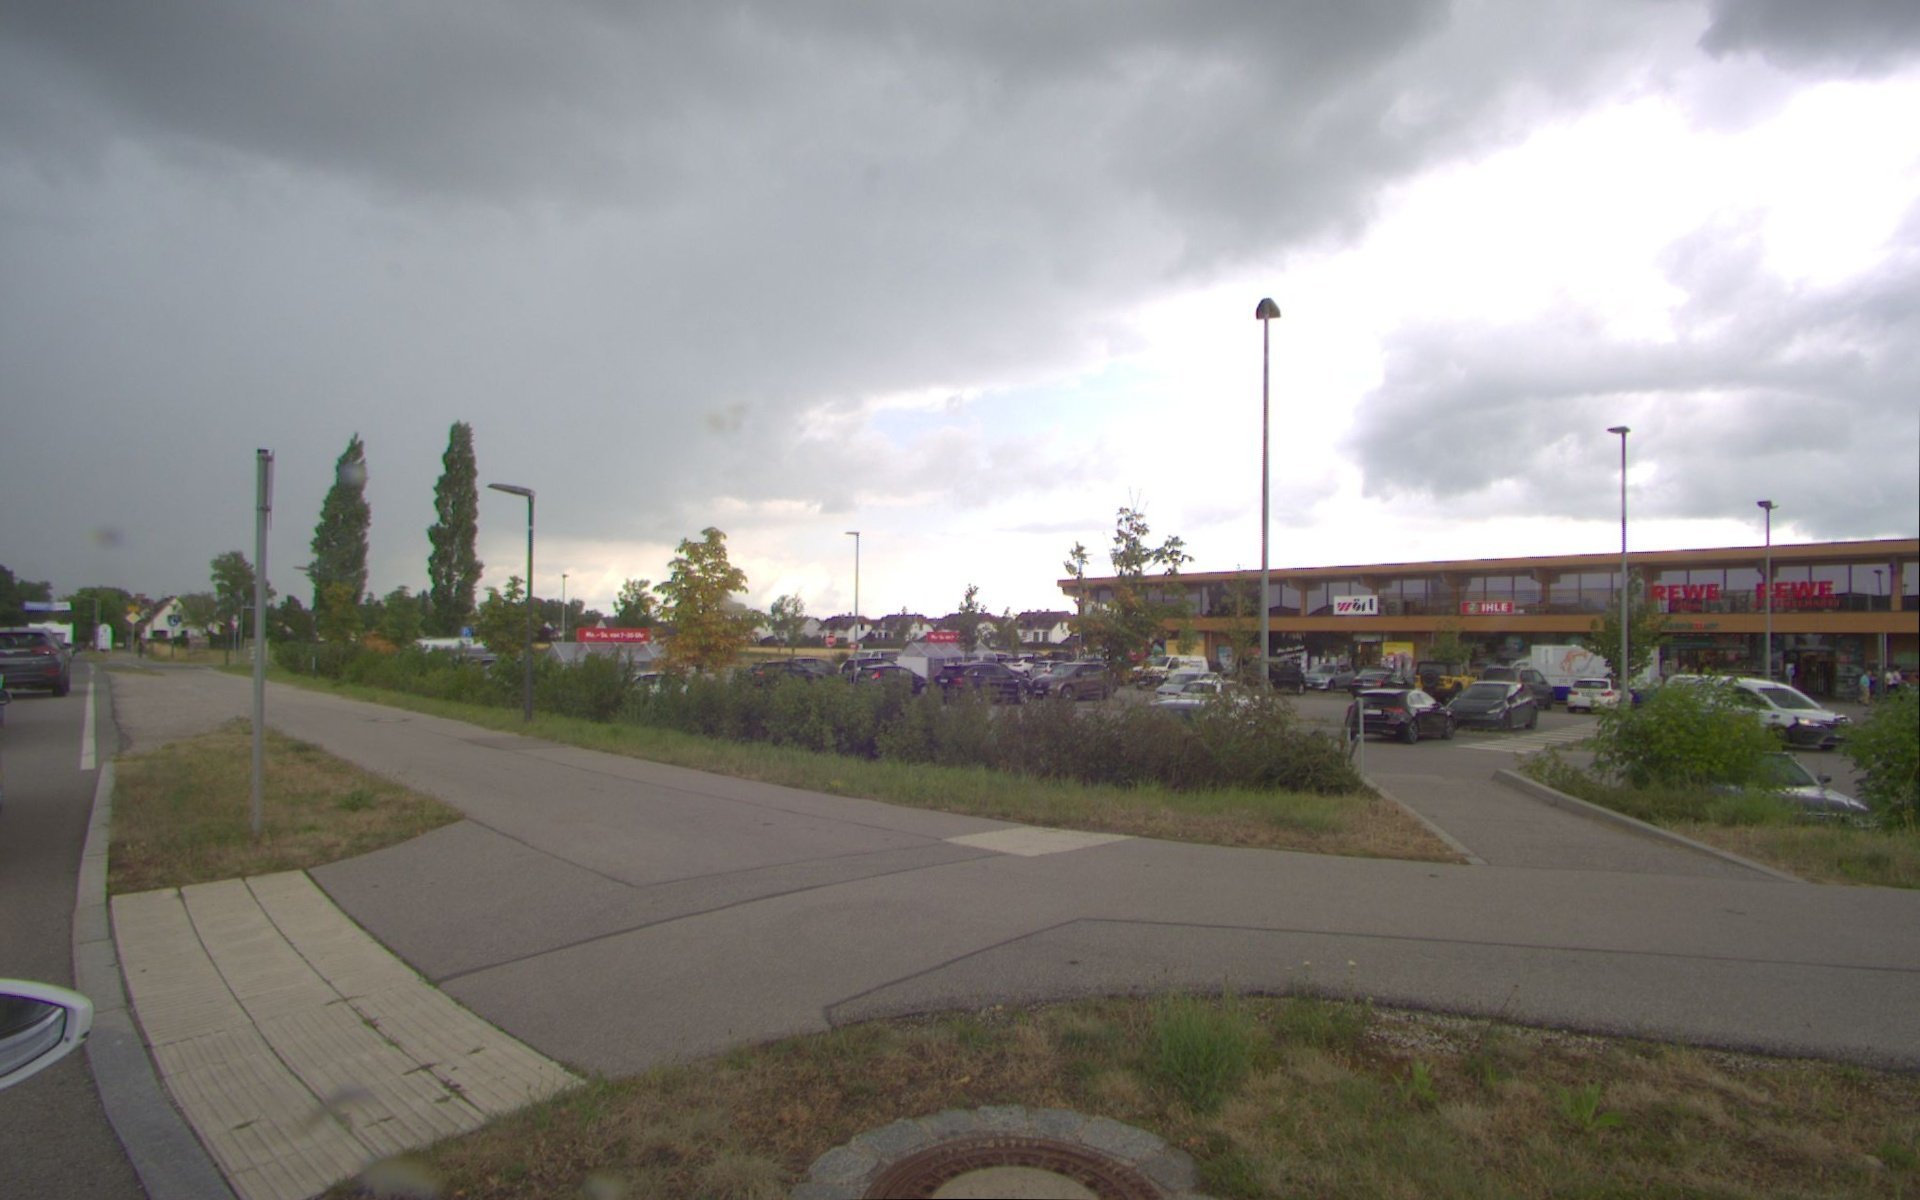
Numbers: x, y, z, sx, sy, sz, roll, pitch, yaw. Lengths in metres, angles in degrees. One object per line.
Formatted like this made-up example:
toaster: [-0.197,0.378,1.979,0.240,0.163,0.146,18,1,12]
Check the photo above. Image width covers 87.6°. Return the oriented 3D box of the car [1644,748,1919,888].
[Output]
car: [11.737,3.047,14.615,1.551,1.389,3.733,0,-3,11]

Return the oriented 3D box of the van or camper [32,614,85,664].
van or camper: [-63.737,2.774,70.915,2.607,3.365,6.761,2,-3,-41]

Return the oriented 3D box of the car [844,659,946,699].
car: [-2.954,3.601,46.136,4.373,1.685,1.983,3,-3,-42]

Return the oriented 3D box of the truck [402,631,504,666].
truck: [-28.930,2.805,57.238,1.980,1.895,4.770,-2,-4,44]

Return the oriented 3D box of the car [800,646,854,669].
car: [-11.057,4.750,83.277,3.954,1.861,1.985,3,-3,-38]

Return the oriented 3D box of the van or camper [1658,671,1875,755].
van or camper: [22.473,3.100,28.214,1.732,2.123,4.808,2,-5,-9]

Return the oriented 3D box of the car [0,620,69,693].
car: [-22.705,1.325,24.147,1.764,1.638,3.965,2,-3,-41]

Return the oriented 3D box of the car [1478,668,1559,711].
car: [23.808,3.778,42.650,4.080,1.746,1.836,4,-5,-43]

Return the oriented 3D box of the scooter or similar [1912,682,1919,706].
scooter or similar: [45.320,4.422,46.880,0.991,1.140,0.788,-1,-5,40]

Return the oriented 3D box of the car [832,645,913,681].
car: [-5.255,3.772,61.057,1.975,2.039,5.090,0,-2,38]

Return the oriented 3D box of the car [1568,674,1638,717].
car: [26.086,3.815,40.567,1.713,1.549,3.967,-1,-3,43]

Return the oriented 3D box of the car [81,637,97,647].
car: [-124.088,6.003,142.677,1.601,1.288,3.432,3,-3,-40]

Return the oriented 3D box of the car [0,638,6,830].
car: [-7.287,0.959,6.310,1.772,1.409,4.094,1,-2,-43]

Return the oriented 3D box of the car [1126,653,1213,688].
car: [11.690,3.928,55.656,5.250,1.853,1.983,4,-4,-42]

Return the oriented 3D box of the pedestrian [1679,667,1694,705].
pedestrian: [38.205,4.512,52.678,0.573,1.973,0.520,2,-2,-42]

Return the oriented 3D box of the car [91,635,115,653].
car: [-80.200,4.152,93.731,1.601,1.651,3.586,3,-3,-40]

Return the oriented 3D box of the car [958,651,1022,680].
car: [2.042,4.344,66.859,3.955,1.860,1.985,3,-3,-38]

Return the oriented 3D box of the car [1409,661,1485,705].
car: [22.100,3.726,45.408,3.960,1.877,1.757,3,-4,-42]

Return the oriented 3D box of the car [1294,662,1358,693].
car: [20.292,4.263,55.390,1.750,1.632,4.188,-2,-4,45]

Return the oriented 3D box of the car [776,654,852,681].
car: [-8.832,4.072,60.859,4.280,1.597,1.753,3,-3,-40]

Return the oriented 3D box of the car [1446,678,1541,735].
car: [16.966,3.323,31.790,1.713,1.572,3.967,-1,-3,43]

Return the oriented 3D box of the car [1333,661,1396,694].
car: [21.775,4.155,53.825,3.858,1.674,1.751,4,-4,-44]

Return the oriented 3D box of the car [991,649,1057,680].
car: [4.129,4.158,64.823,3.954,1.861,1.985,3,-3,-38]

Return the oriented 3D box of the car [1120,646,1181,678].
car: [12.275,3.980,64.512,4.075,1.917,1.781,3,-3,-43]

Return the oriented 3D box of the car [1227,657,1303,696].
car: [15.826,3.972,51.883,3.962,1.859,1.983,6,-5,-42]

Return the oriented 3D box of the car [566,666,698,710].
car: [-12.009,3.184,36.817,4.203,1.458,1.983,3,-3,-41]

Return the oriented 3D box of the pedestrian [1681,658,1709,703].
pedestrian: [34.189,3.723,46.580,0.922,2.039,0.799,-1,-2,43]

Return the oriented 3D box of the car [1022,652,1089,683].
car: [5.983,4.210,62.826,3.956,1.860,1.985,3,-4,-39]

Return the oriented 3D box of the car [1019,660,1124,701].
car: [5.108,3.590,45.352,4.940,1.685,1.982,3,-3,-42]

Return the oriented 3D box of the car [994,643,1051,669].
car: [4.631,4.122,74.041,3.954,1.863,1.861,2,-3,-38]

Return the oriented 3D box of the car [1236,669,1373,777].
car: [4.683,1.648,13.998,1.550,1.221,3.756,1,-4,15]

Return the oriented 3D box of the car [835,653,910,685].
car: [-4.917,3.883,56.434,3.960,1.727,1.701,3,-4,-42]

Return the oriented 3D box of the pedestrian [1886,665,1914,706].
pedestrian: [44.587,4.056,47.507,0.918,1.921,0.788,-1,-4,40]

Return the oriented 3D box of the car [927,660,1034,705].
car: [0.893,3.380,41.424,4.421,1.727,1.788,4,-4,-42]

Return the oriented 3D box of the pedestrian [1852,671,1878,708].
pedestrian: [41.525,4.095,45.954,0.743,1.678,0.798,2,-2,-42]

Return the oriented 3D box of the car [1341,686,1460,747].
car: [12.364,3.196,28.000,1.817,1.415,3.965,-1,-3,44]

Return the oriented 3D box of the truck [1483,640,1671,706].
truck: [29.073,3.345,47.408,7.183,2.842,2.951,-2,-3,44]

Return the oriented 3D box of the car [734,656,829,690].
car: [-9.275,3.774,52.355,4.525,1.685,1.983,3,-3,-42]

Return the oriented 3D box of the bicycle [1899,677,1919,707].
bicycle: [44.689,4.227,45.517,0.970,1.325,2.844,2,-3,-42]

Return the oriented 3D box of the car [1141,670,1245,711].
car: [9.700,3.698,41.471,4.741,1.503,1.887,3,-3,-42]

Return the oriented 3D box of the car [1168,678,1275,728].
car: [8.584,3.310,32.716,1.665,1.503,3.962,-2,-4,44]

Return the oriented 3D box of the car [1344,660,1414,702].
car: [20.007,3.828,47.737,1.754,1.878,3.966,-1,-3,44]
